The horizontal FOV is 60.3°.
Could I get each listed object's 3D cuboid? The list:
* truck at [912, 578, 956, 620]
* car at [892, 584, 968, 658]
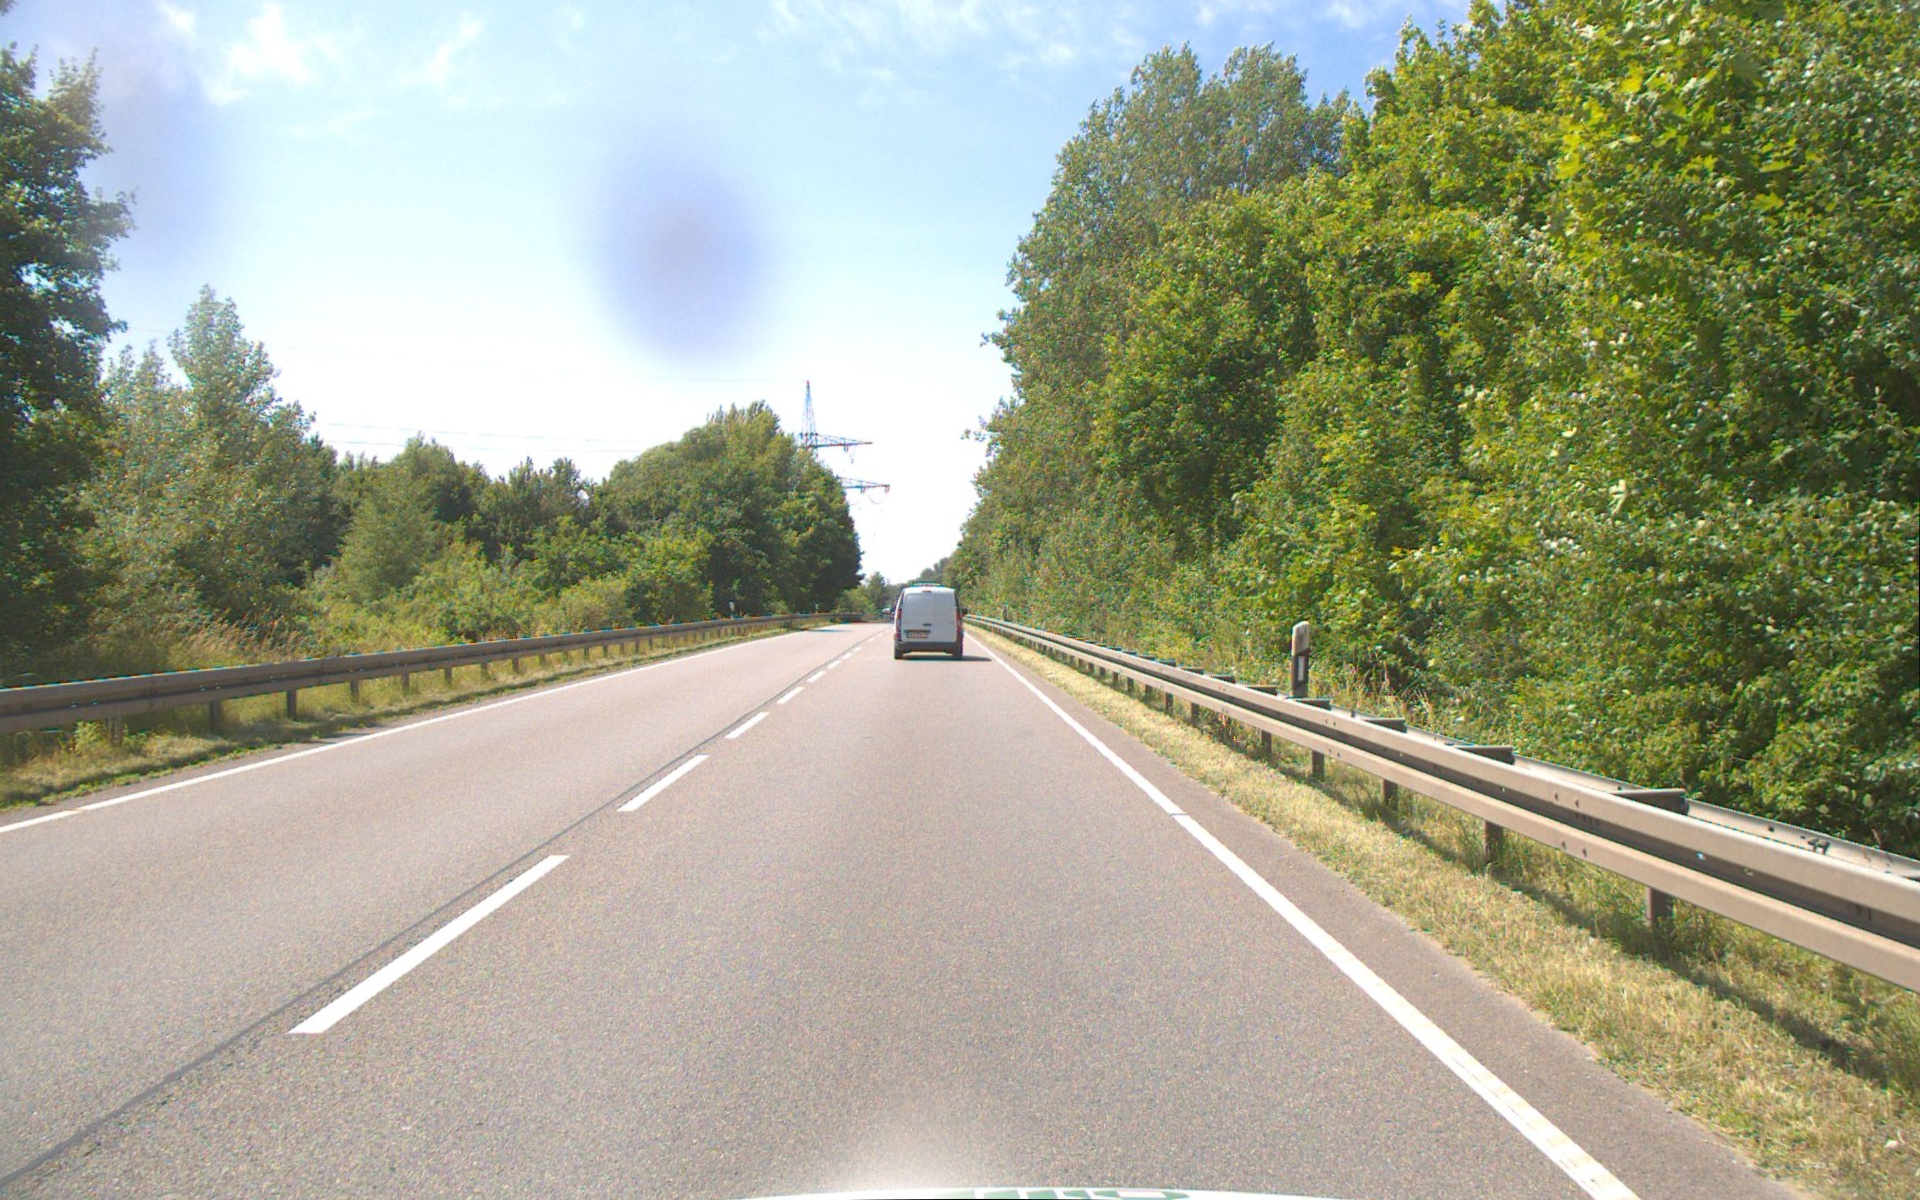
[{"bbox_3d":[-2.324,-0.123,140.165,3.231,3.227,14.397,2,0,-3],"label":"truck"},{"bbox_3d":[-0.776,0.509,42.394,1.837,1.772,3.999,1,0,-2],"label":"car"}]
